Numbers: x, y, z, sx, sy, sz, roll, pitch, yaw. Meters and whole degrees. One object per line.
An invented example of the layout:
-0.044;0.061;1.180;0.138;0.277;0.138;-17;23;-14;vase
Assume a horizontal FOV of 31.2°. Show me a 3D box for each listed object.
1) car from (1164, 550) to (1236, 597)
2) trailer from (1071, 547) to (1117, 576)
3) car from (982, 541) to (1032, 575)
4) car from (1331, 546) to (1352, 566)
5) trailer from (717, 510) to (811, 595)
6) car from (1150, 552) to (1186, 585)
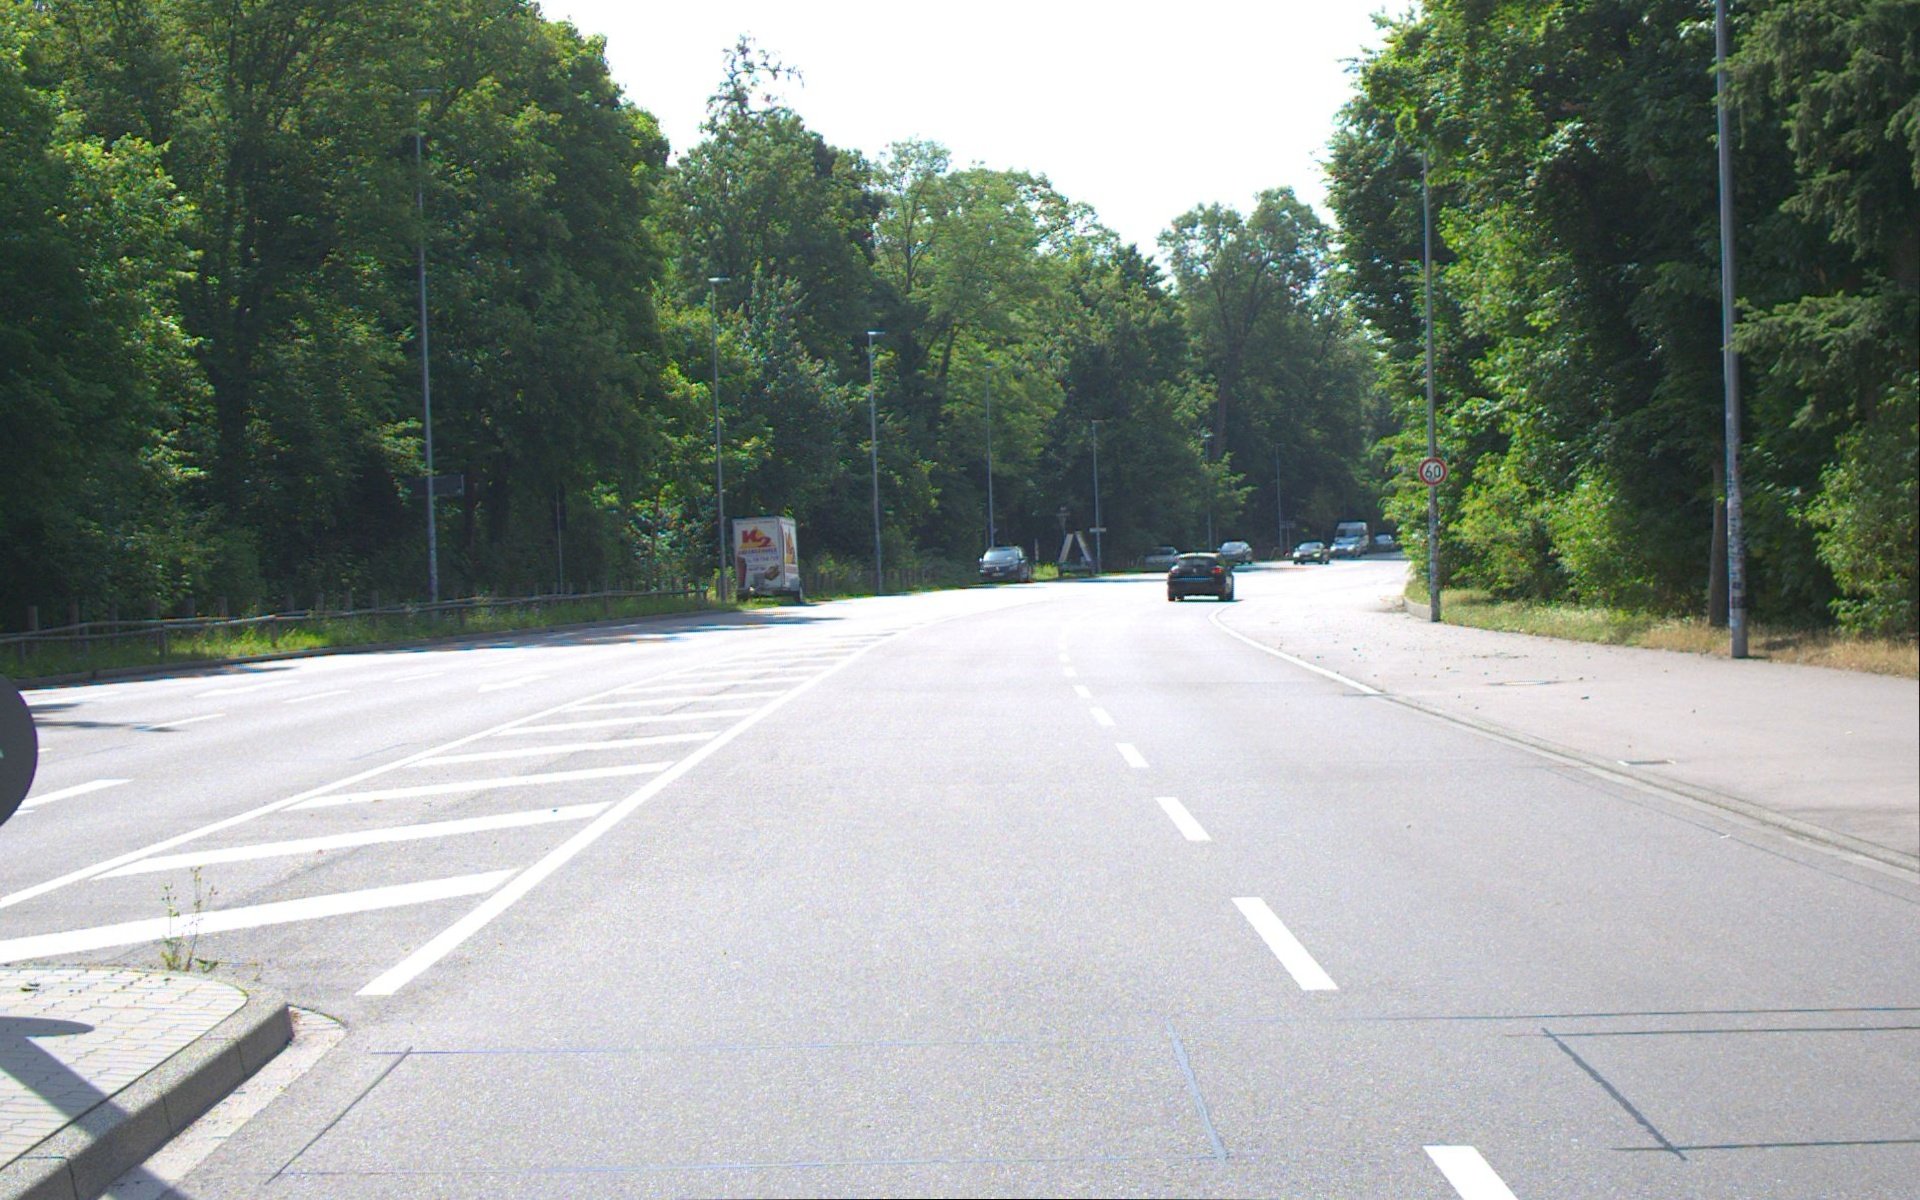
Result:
7.226;-0.805;103.212;1.598;1.373;3.974;-1;1;12;car
6.649;-1.909;170.075;1.717;1.350;3.730;-1;1;11;trailer
2.046;-1.817;147.736;1.504;1.441;3.527;-1;1;12;car
27.865;-3.205;251.286;1.504;1.441;3.528;-1;1;6;car
-5.627;-1.378;99.319;1.994;2.380;3.999;-1;1;7;trailer
11.945;-1.808;197.611;1.922;1.848;3.999;-1;1;5;car
